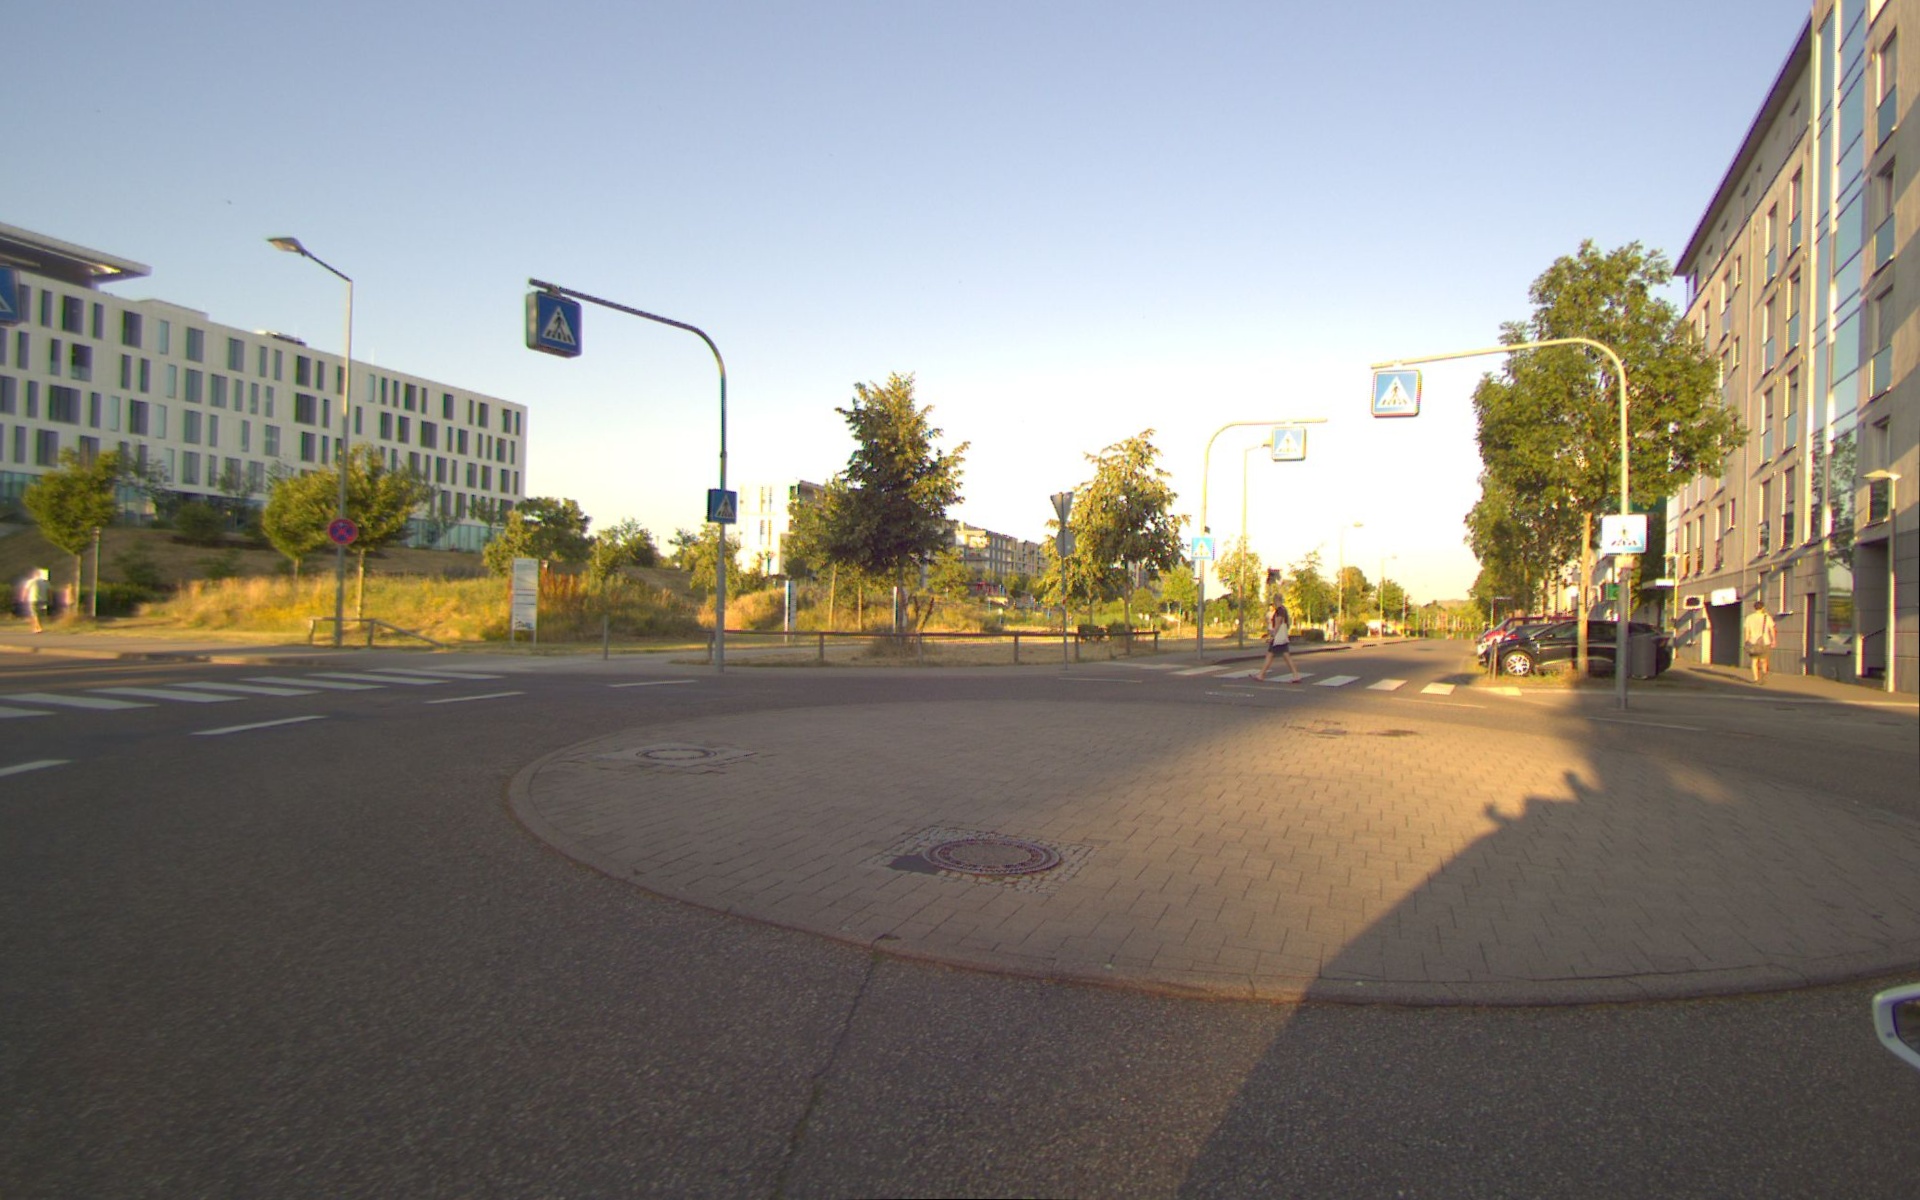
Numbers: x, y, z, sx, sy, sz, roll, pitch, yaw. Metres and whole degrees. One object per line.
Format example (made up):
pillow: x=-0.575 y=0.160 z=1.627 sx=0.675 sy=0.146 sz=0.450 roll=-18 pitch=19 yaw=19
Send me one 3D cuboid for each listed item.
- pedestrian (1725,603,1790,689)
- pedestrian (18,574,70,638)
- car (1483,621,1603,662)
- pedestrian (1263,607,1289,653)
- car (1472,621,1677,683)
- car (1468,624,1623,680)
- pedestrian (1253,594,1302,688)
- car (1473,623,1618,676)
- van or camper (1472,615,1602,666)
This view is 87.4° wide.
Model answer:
pedestrian: x=18.662 y=1.066 z=23.538 sx=0.962 sy=1.919 sz=1.048 roll=2 pitch=-1 yaw=28
pedestrian: x=-26.076 y=0.182 z=28.601 sx=0.803 sy=1.790 sz=0.832 roll=2 pitch=-1 yaw=30
car: x=25.362 y=1.782 z=43.893 sx=4.383 sy=1.541 sz=1.700 roll=2 pitch=-1 yaw=27
pedestrian: x=12.359 y=1.168 z=39.292 sx=0.754 sy=1.752 sz=0.800 roll=2 pitch=-1 yaw=32
car: x=15.888 y=1.337 z=26.227 sx=4.401 sy=1.507 sz=1.830 roll=-2 pitch=-2 yaw=29
car: x=18.021 y=1.561 z=31.120 sx=3.981 sy=1.499 sz=1.700 roll=2 pitch=-1 yaw=27
pedestrian: x=6.316 y=0.809 z=19.958 sx=0.787 sy=1.808 sz=0.733 roll=2 pitch=-1 yaw=26
car: x=19.237 y=1.604 z=33.221 sx=3.981 sy=1.499 sz=1.700 roll=2 pitch=-1 yaw=27
van or camper: x=26.632 y=1.833 z=46.599 sx=5.035 sy=2.087 sz=1.876 roll=2 pitch=-1 yaw=26
